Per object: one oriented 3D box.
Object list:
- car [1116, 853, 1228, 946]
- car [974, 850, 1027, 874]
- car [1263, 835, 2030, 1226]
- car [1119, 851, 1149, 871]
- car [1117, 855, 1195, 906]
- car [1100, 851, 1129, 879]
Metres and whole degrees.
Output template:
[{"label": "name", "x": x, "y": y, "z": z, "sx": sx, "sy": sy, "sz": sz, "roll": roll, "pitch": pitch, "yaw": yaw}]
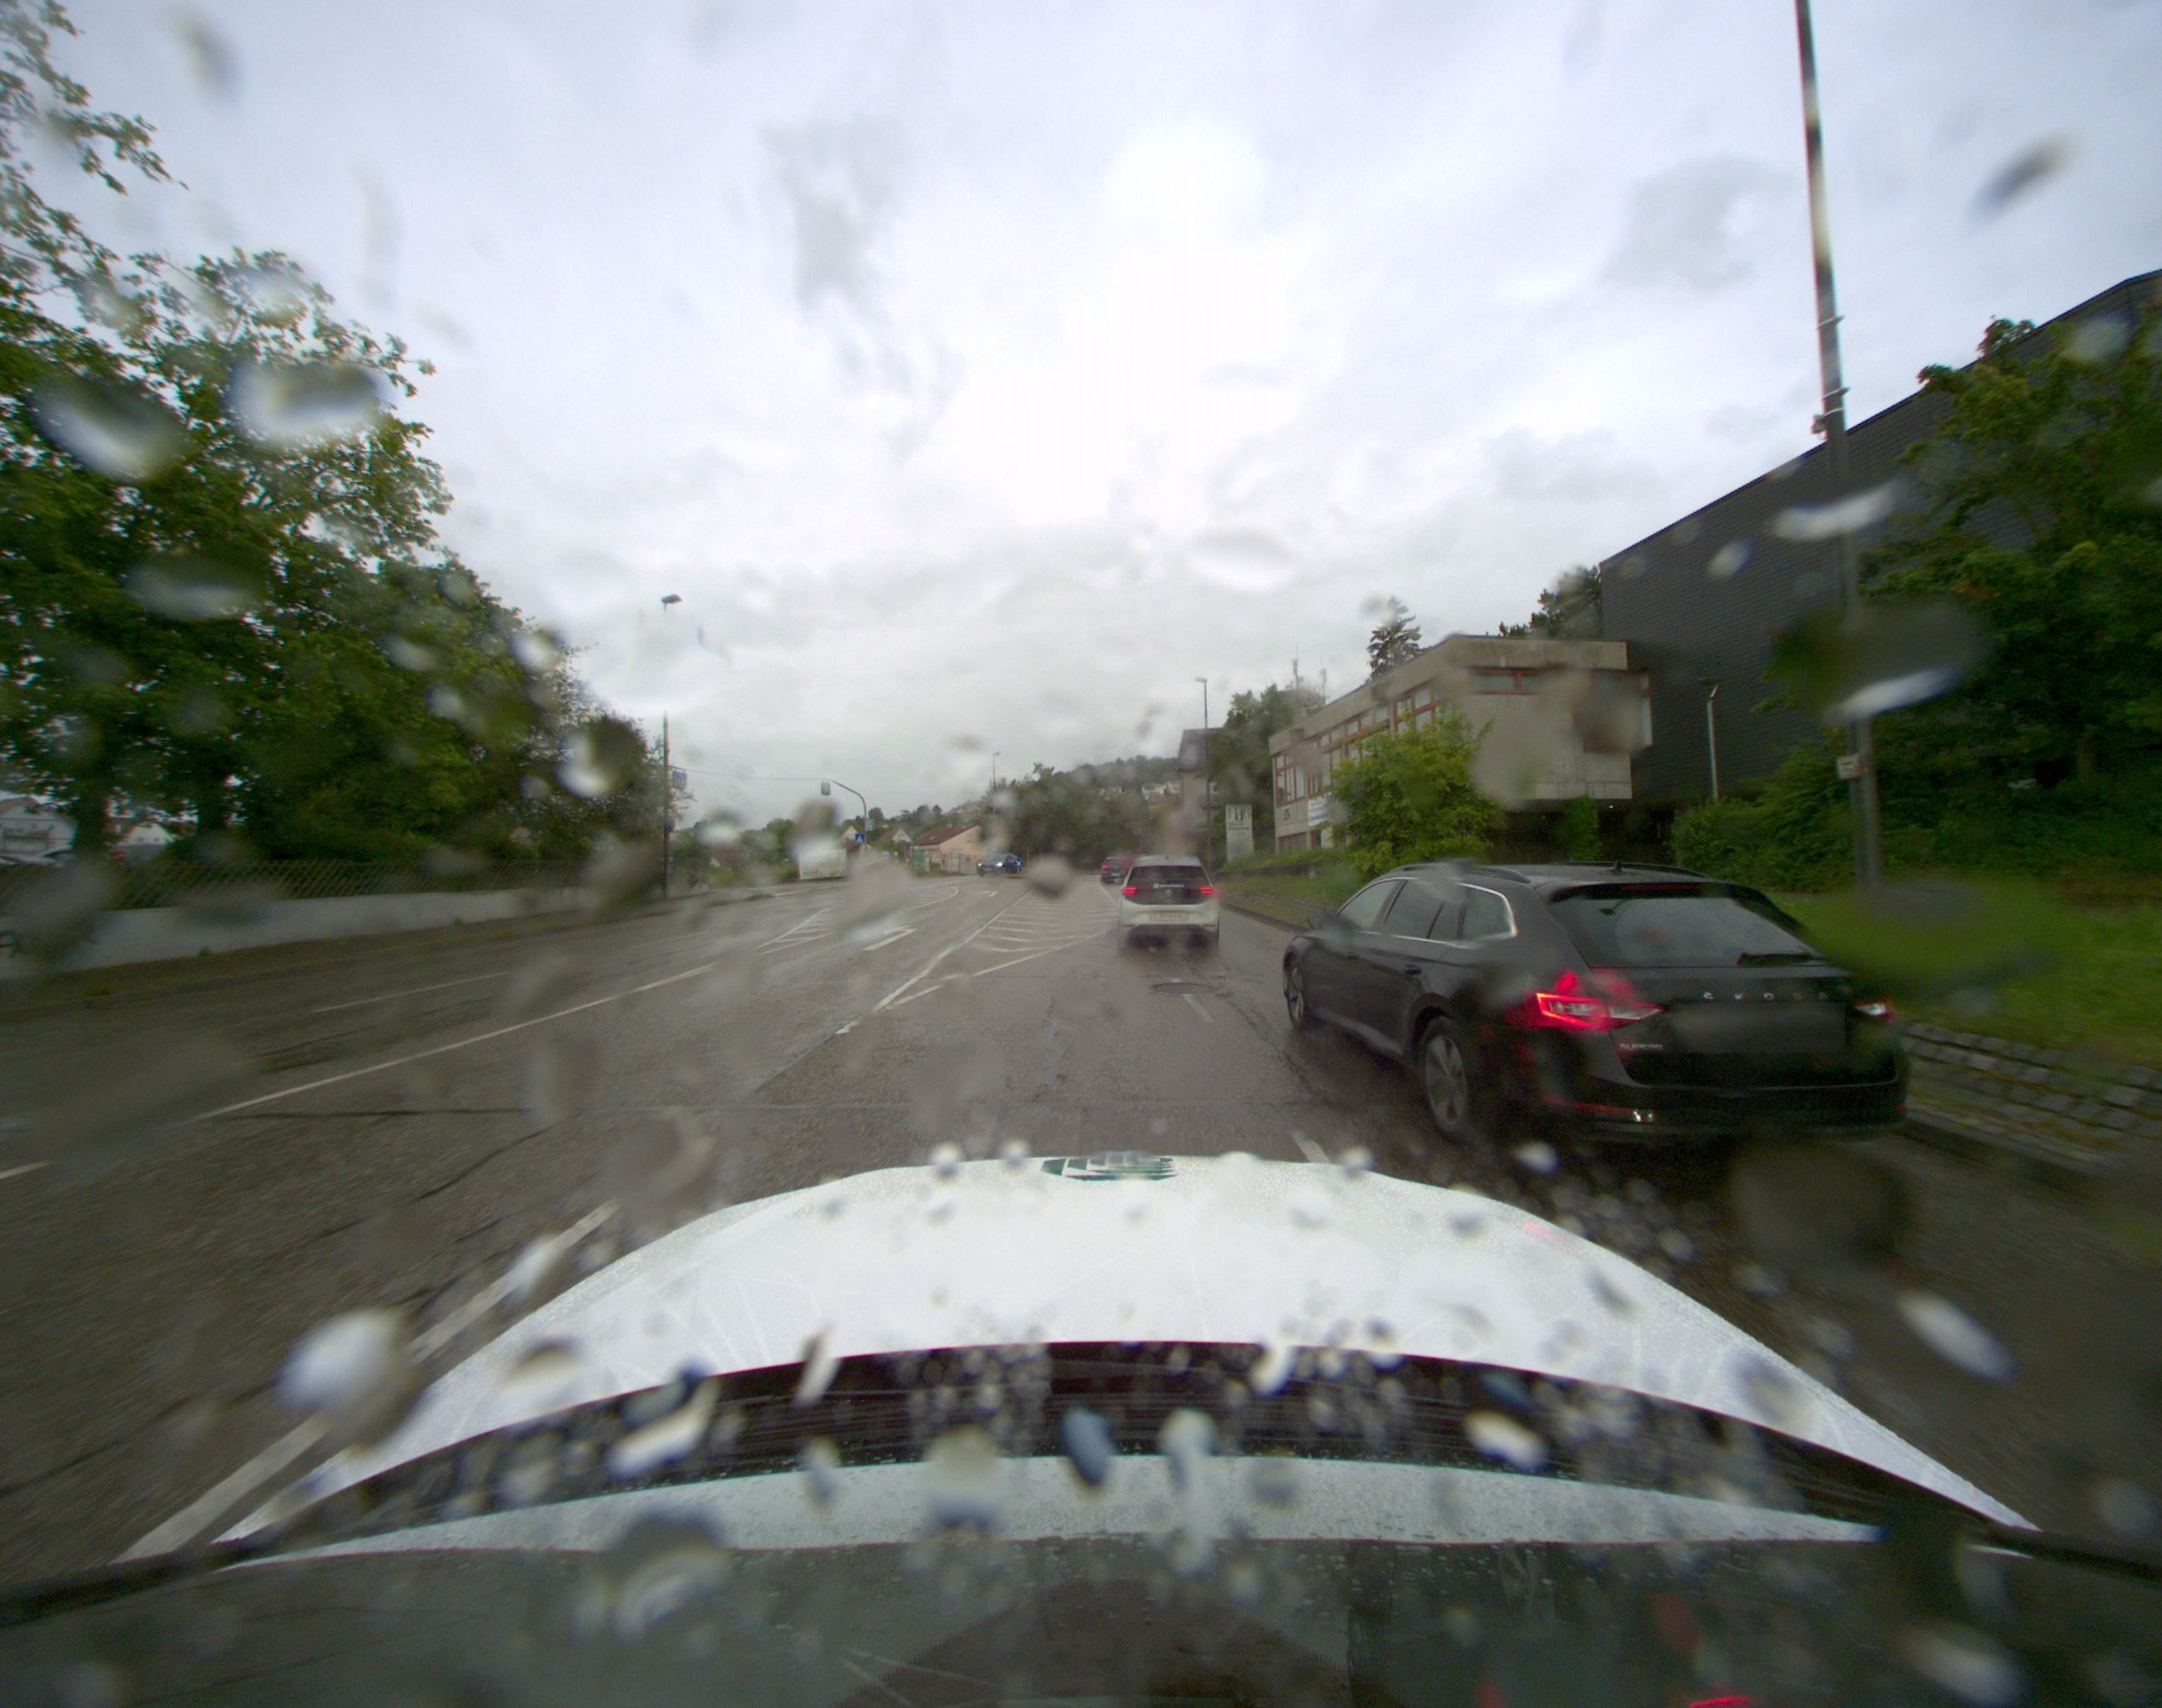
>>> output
[{"label": "car", "x": 1.633, "y": 0.785, "z": 15.452, "sx": 1.820, "sy": 1.500, "sz": 4.172, "roll": -1, "pitch": -1, "yaw": 4}, {"label": "car", "x": -5.738, "y": 0.611, "z": 58.441, "sx": 1.977, "sy": 1.693, "sz": 4.728, "roll": -1, "pitch": -1, "yaw": 19}, {"label": "car", "x": 2.760, "y": 0.735, "z": 5.509, "sx": 1.948, "sy": 1.507, "sz": 4.606, "roll": 1, "pitch": -1, "yaw": -1}, {"label": "car", "x": 4.154, "y": 0.550, "z": 63.372, "sx": 1.983, "sy": 1.453, "sz": 3.777, "roll": -4, "pitch": -1, "yaw": 7}, {"label": "car", "x": 2.216, "y": 0.779, "z": 25.169, "sx": 1.843, "sy": 1.410, "sz": 4.297, "roll": -1, "pitch": -1, "yaw": -2}, {"label": "car", "x": 1.911, "y": 0.594, "z": 47.130, "sx": 1.561, "sy": 1.530, "sz": 4.001, "roll": -1, "pitch": 0, "yaw": 1}]
